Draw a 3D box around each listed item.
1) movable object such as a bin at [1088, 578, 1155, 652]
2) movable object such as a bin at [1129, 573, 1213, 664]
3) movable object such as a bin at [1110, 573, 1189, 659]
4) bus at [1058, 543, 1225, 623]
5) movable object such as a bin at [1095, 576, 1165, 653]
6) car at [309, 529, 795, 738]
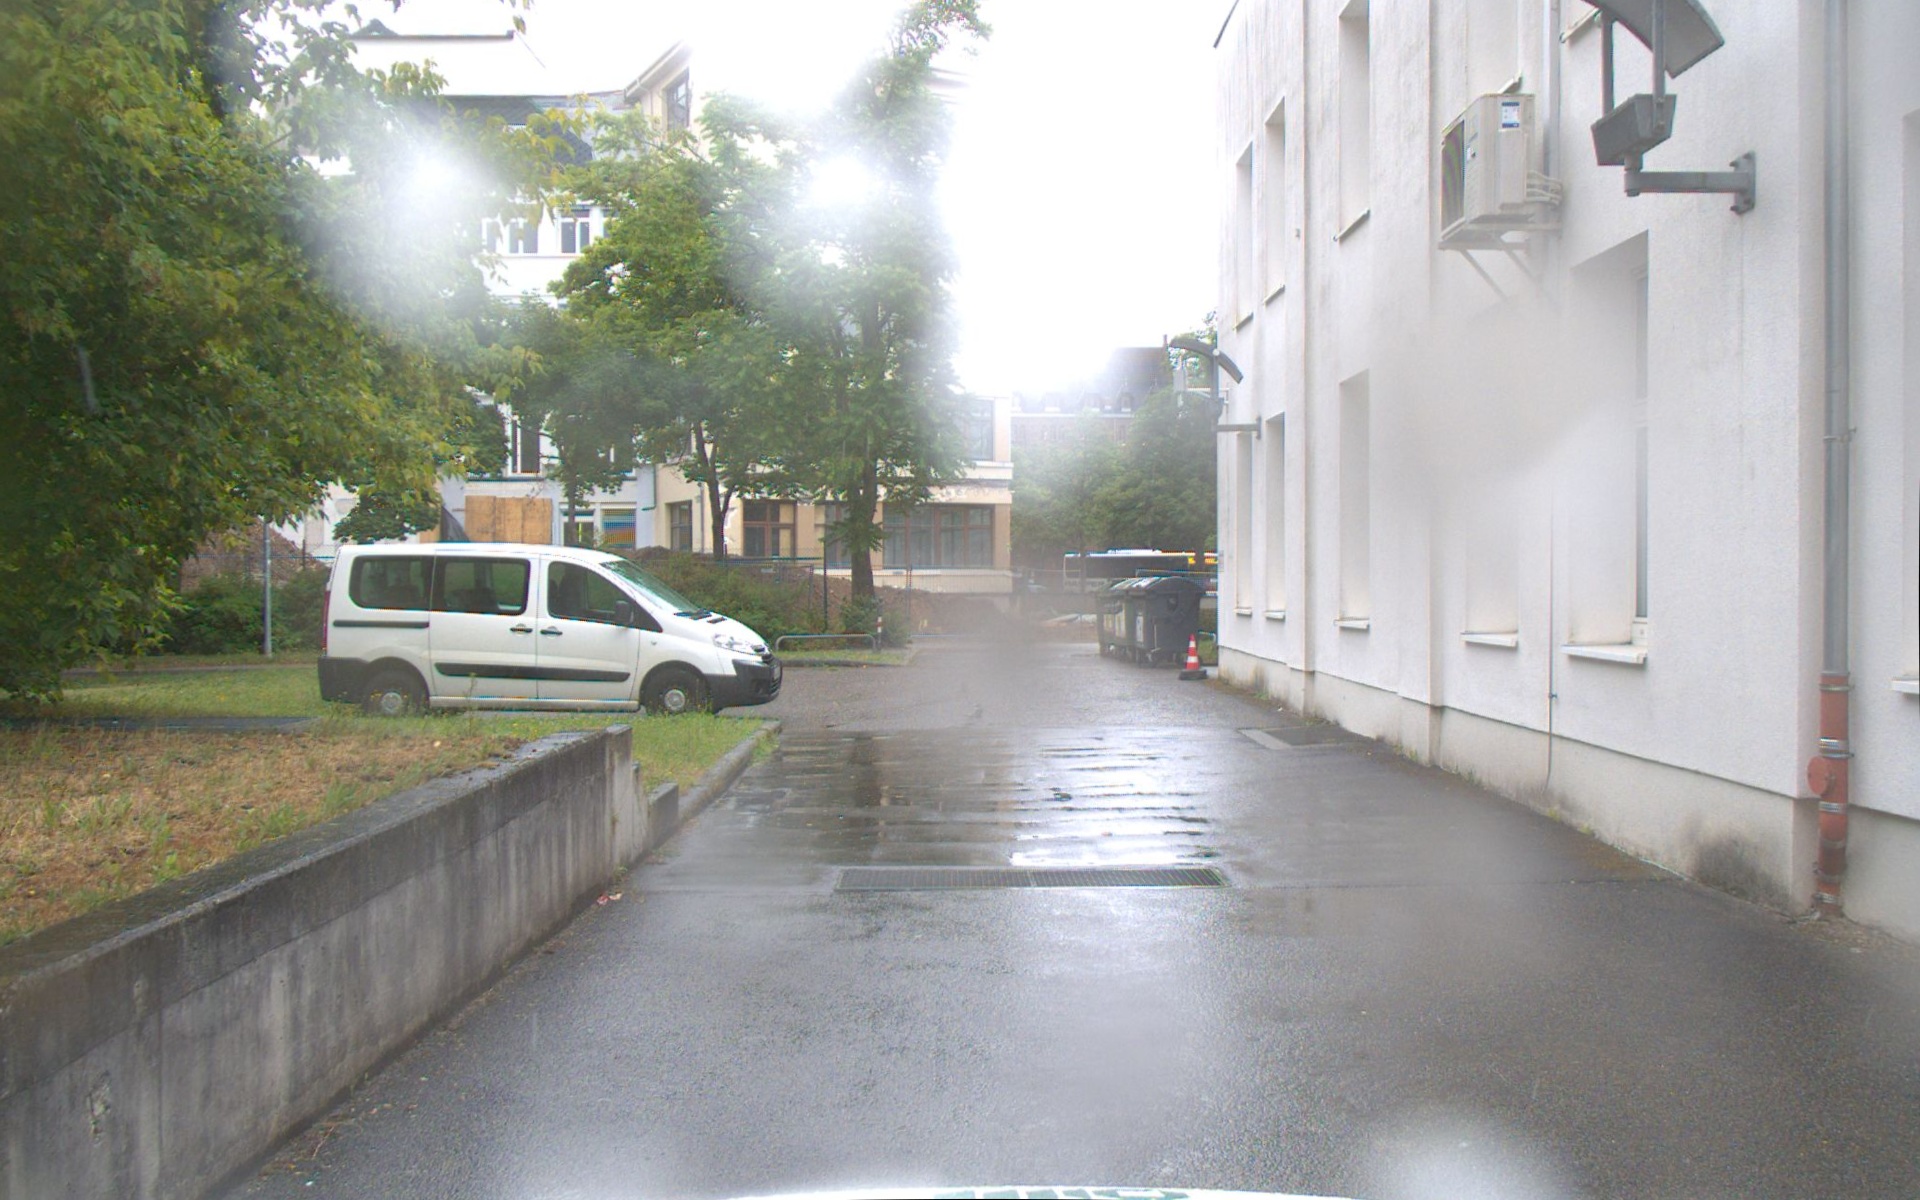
[{"bbox_3d":[3.240,0.320,33.304,1.190,1.462,1.258,0,-2,-2],"label":"movable object such as a bin"},{"bbox_3d":[3.461,0.310,27.226,1.190,1.462,1.235,0,-2,-2],"label":"movable object such as a bin"},{"bbox_3d":[3.296,0.285,28.918,1.190,1.462,1.293,0,-2,-2],"label":"movable object such as a bin"},{"bbox_3d":[9.701,-0.792,90.592,2.776,3.942,11.938,1,-2,-29],"label":"bus"},{"bbox_3d":[3.268,0.285,31.926,1.190,1.462,1.258,0,-2,-2],"label":"movable object such as a bin"},{"bbox_3d":[-4.261,0.322,17.863,4.682,2.048,2.000,-1,1,1],"label":"car"}]
